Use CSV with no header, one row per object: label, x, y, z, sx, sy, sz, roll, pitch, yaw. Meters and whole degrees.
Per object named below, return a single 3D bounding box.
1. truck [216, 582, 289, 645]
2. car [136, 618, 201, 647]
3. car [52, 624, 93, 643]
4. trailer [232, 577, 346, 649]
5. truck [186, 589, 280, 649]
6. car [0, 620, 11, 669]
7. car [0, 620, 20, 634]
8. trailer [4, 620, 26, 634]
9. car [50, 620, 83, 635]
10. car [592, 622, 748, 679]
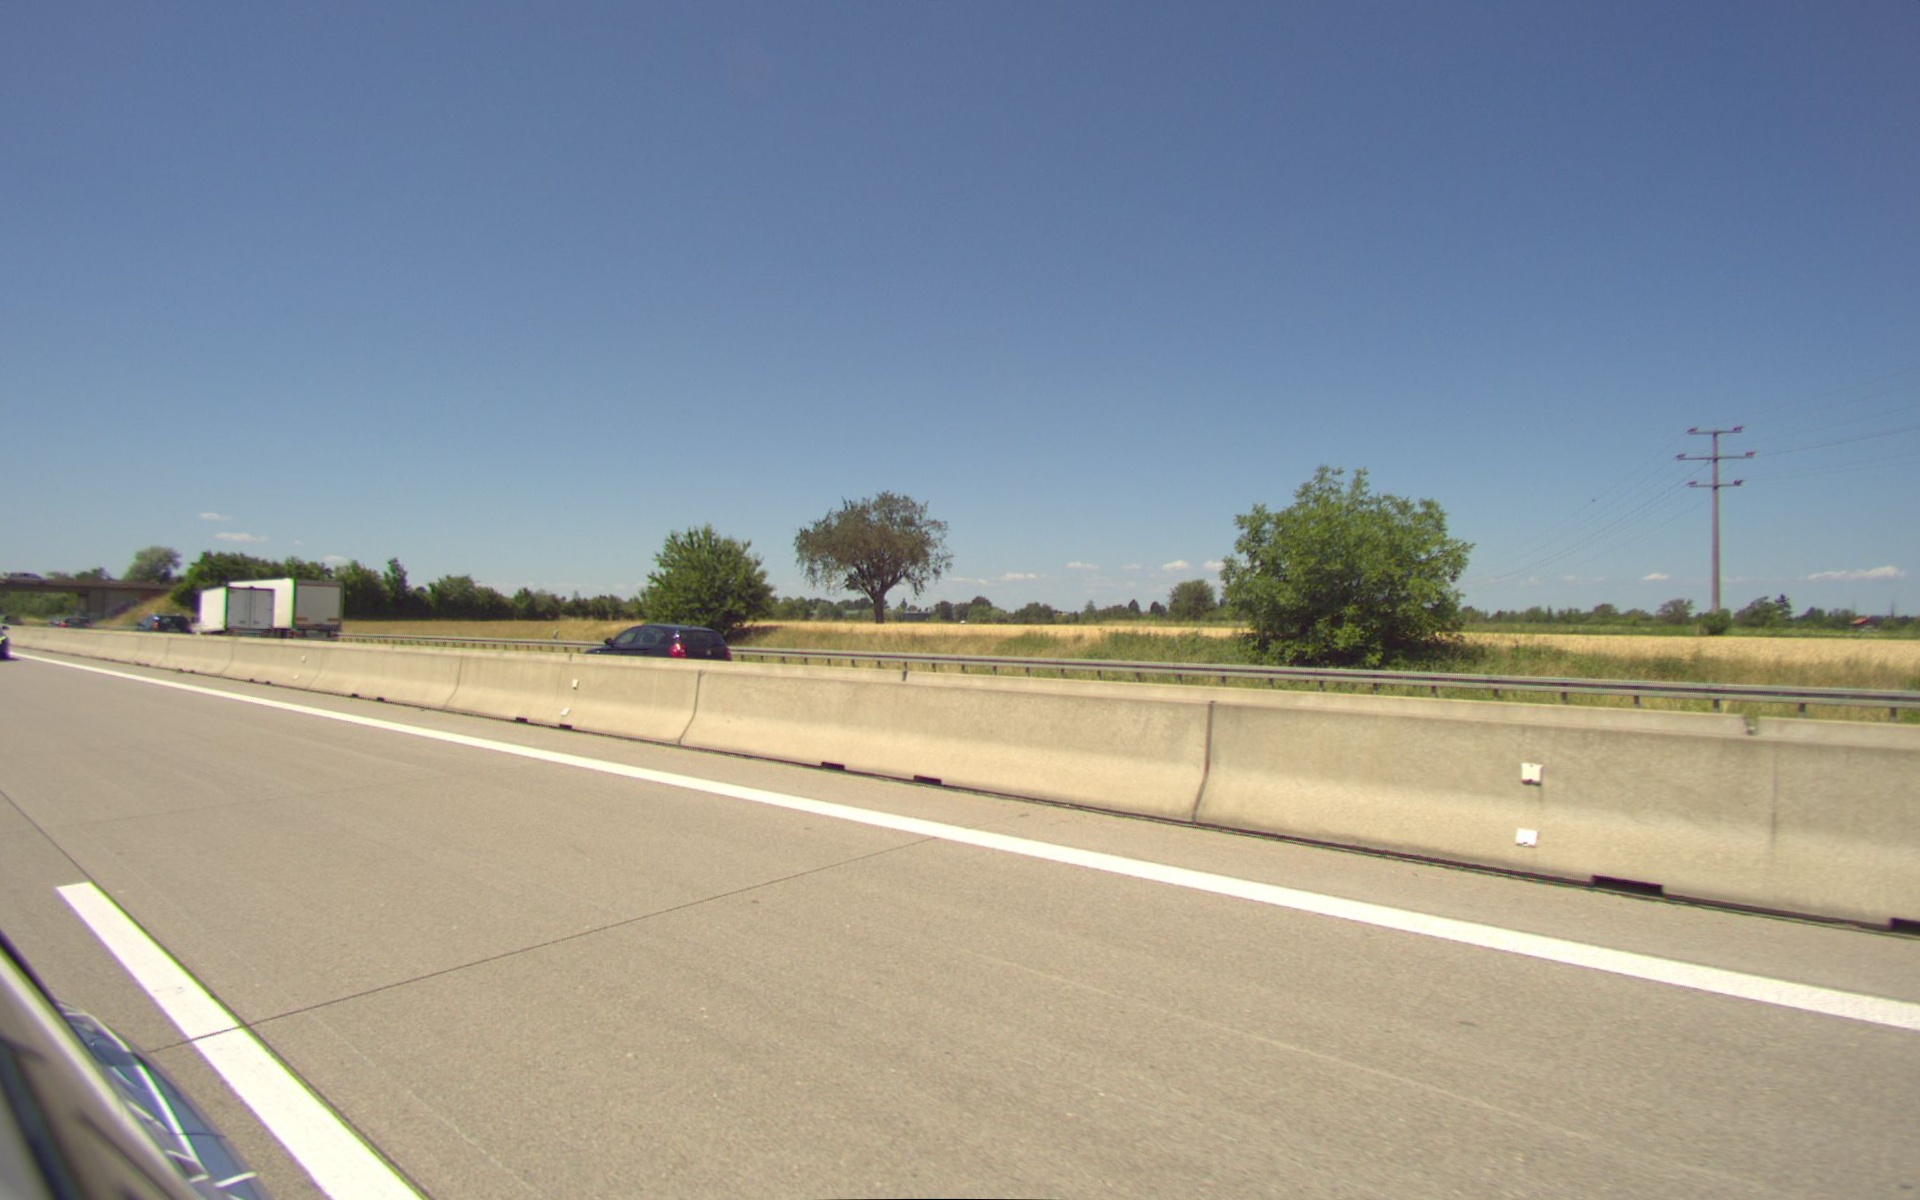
truck,-47.572,0.896,67.993,5.676,4.075,2.789,-1,0,42
car,-39.569,1.603,50.550,4.492,1.362,1.826,-1,-2,42
car,-56.752,2.114,64.681,3.373,1.172,1.527,-1,0,41
trailer,-41.964,0.804,63.000,12.673,4.075,2.790,-1,0,42
truck,-40.913,1.056,56.841,7.918,3.166,2.521,-1,-1,41
car,-31.977,1.383,32.123,6.342,1.482,1.973,-1,-2,40
car,-142.288,4.047,151.472,5.563,1.959,1.846,-1,0,41
trailer,-138.291,3.912,148.019,5.611,2.058,1.791,-1,0,41
car,-84.716,2.602,95.959,4.903,1.383,1.717,-1,0,41
car,-6.101,1.013,21.096,3.522,1.061,1.505,-1,0,43
